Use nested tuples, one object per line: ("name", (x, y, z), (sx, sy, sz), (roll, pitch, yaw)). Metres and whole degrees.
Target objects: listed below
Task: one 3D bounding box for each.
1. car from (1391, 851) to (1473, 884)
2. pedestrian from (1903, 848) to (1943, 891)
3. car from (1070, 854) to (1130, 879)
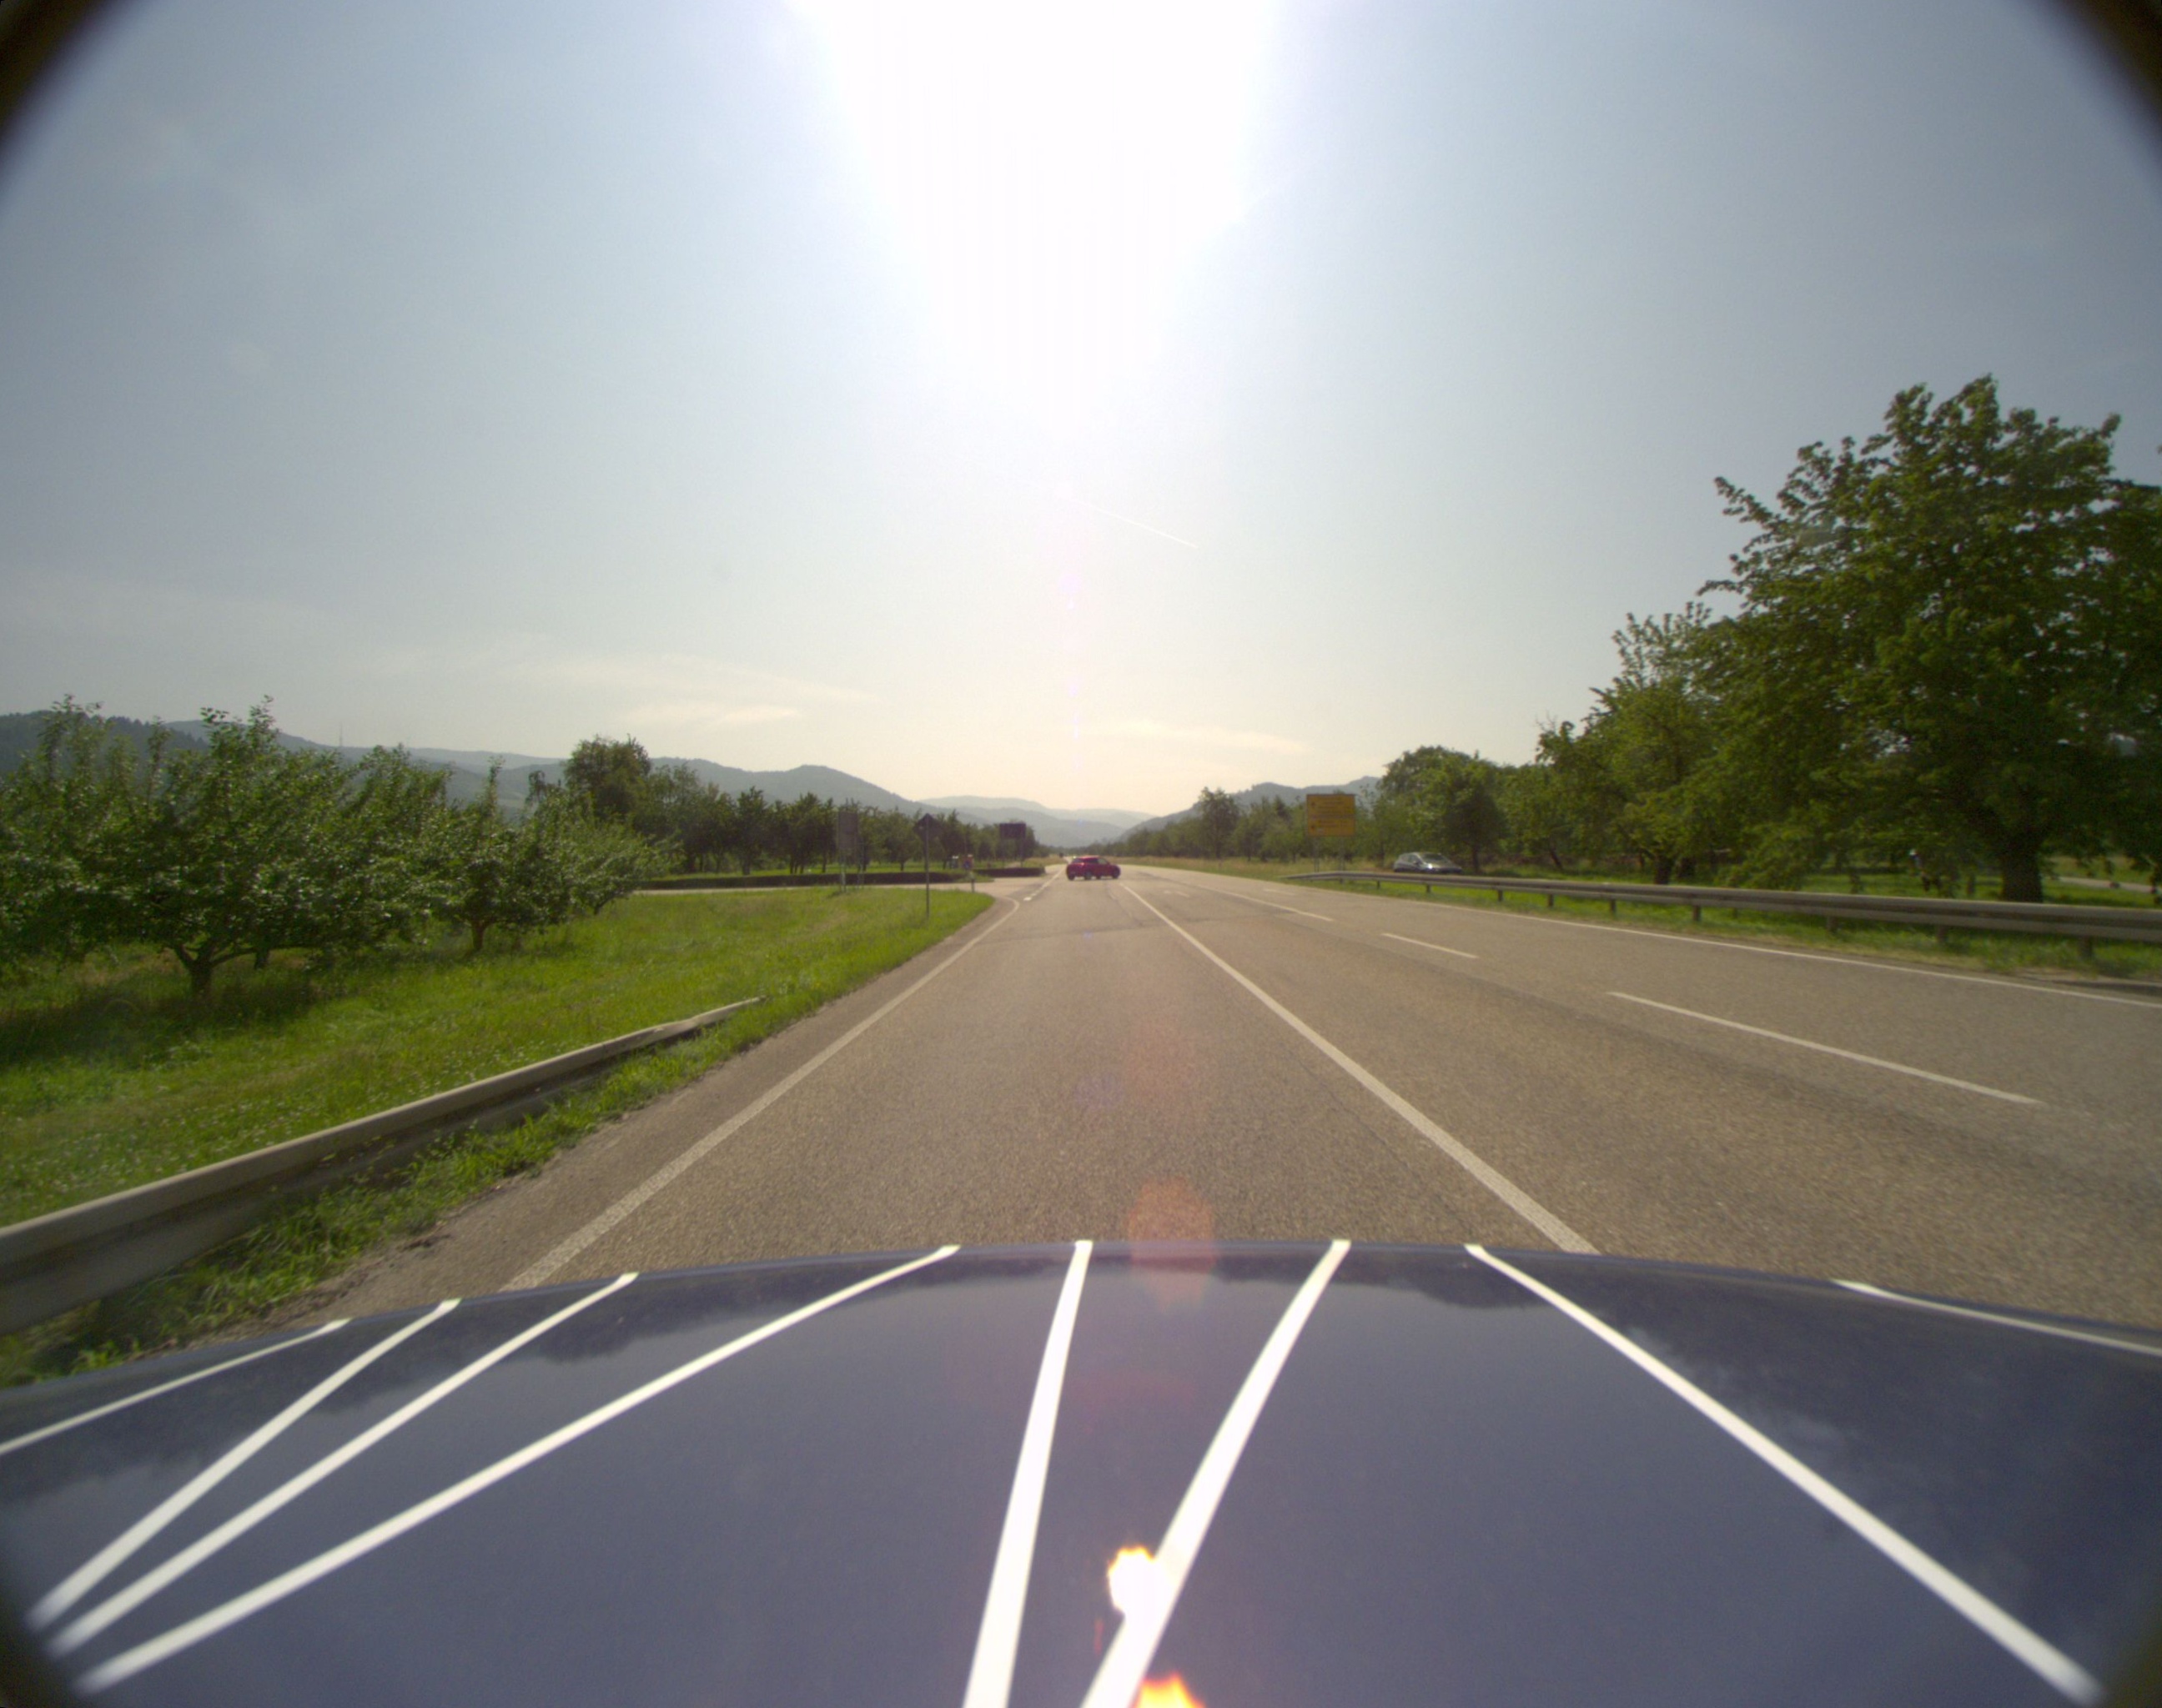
("car", (16.320, 0.593, 35.567), (1.709, 1.414, 4.041), (-1, 0, -4))
("pedestrian", (25.581, 0.470, 23.088), (0.574, 1.290, 0.556), (-2, 1, 2))
("car", (1.259, 0.820, 49.691), (3.759, 1.484, 1.667), (-2, 0, -41))
